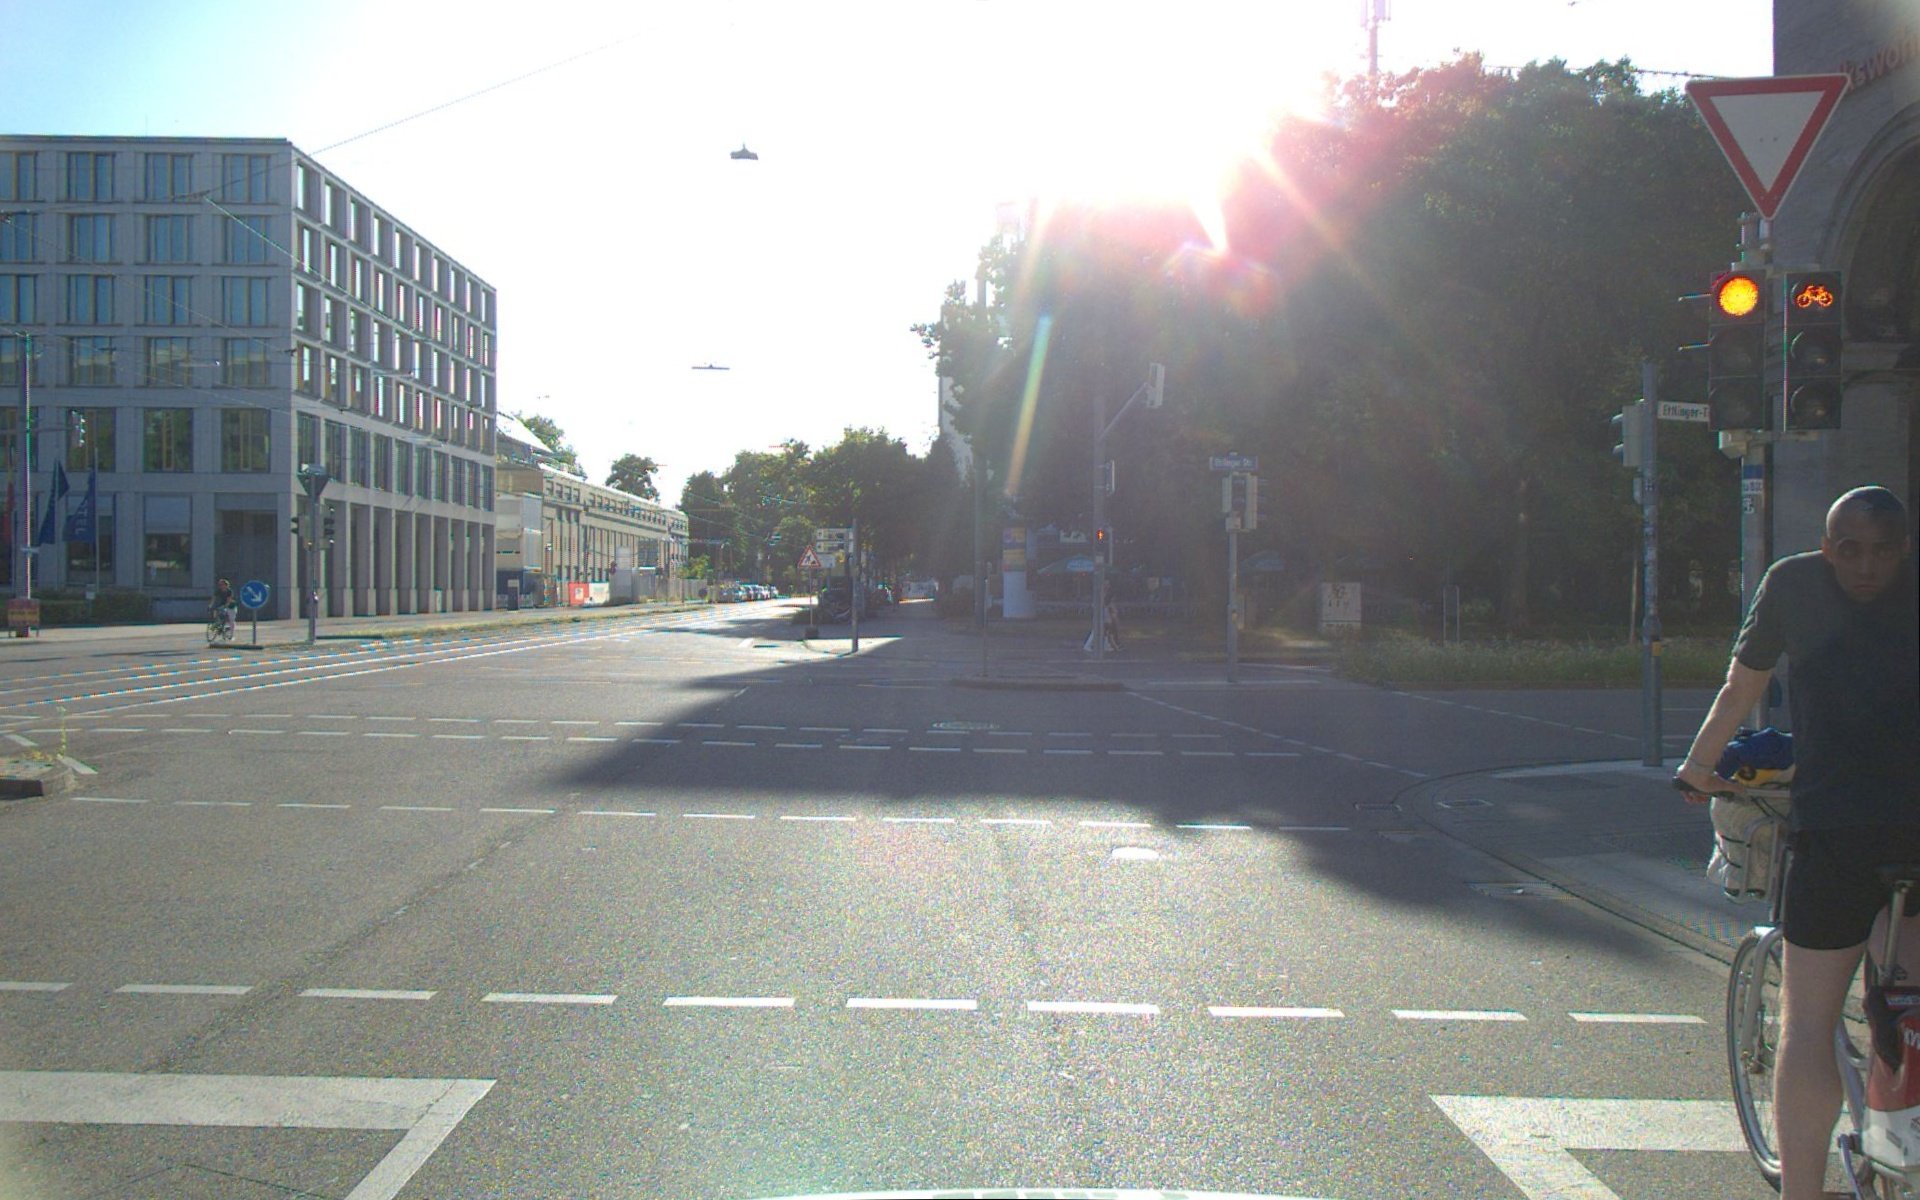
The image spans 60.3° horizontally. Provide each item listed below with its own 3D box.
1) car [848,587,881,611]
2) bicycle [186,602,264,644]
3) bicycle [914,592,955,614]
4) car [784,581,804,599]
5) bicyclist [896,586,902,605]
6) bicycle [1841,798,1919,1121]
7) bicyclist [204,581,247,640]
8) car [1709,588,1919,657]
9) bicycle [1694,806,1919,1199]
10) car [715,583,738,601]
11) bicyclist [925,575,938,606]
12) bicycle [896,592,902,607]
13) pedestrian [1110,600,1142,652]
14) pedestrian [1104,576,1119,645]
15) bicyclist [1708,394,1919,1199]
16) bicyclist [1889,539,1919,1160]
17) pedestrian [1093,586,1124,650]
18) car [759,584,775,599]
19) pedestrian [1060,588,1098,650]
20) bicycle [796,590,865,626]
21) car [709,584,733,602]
[{"bbox_3d":[-5.325,-0.059,92.430,1.783,1.301,3.998,0,0,-3],"label":"car"},{"bbox_3d":[-21.024,0.651,47.392,0.857,1.140,3.013,0,0,0],"label":"bicycle"},{"bbox_3d":[-1.562,0.212,102.609,2.517,1.311,0.728,1,0,-1],"label":"bicycle"},{"bbox_3d":[-19.645,-1.184,196.227,1.953,2.049,3.999,1,0,-1],"label":"car"},{"bbox_3d":[-3.612,-0.258,98.286,0.311,1.147,0.291,0,0,6],"label":"bicyclist"},{"bbox_3d":[3.001,1.083,4.318,0.418,0.891,1.951,0,0,2],"label":"bicycle"},{"bbox_3d":[-21.012,0.292,47.332,0.857,1.670,0.822,0,0,0],"label":"bicyclist"},{"bbox_3d":[17.777,0.444,33.555,4.350,1.352,1.777,0,0,2],"label":"car"},{"bbox_3d":[2.241,1.075,3.915,0.381,0.921,1.952,0,0,8],"label":"bicycle"},{"bbox_3d":[-22.496,-0.760,159.536,1.695,1.682,3.999,0,0,-1],"label":"car"},{"bbox_3d":[-1.748,-0.582,102.630,0.788,1.876,0.731,0,0,-2],"label":"bicyclist"},{"bbox_3d":[-3.605,-0.026,98.456,0.317,0.883,1.483,0,0,-1],"label":"bicycle"},{"bbox_3d":[4.349,0.673,43.424,0.737,1.356,0.742,0,0,-3],"label":"pedestrian"},{"bbox_3d":[4.079,0.273,44.526,0.353,1.836,0.507,0,0,11],"label":"pedestrian"},{"bbox_3d":[2.131,0.428,3.707,0.655,1.707,0.657,0,0,7],"label":"bicyclist"},{"bbox_3d":[2.885,0.687,4.265,0.511,1.709,0.859,0,0,2],"label":"bicyclist"},{"bbox_3d":[3.952,0.476,44.102,0.779,1.668,0.533,0,0,2],"label":"pedestrian"},{"bbox_3d":[-22.647,-0.971,193.798,1.453,1.780,3.999,0,0,-1],"label":"car"},{"bbox_3d":[3.125,0.497,43.481,0.964,1.615,0.660,0,-1,1],"label":"pedestrian"},{"bbox_3d":[-5.231,0.335,67.046,2.688,1.391,0.631,1,-1,10],"label":"bicycle"},{"bbox_3d":[-22.457,-0.659,155.377,1.695,1.682,3.999,0,0,-1],"label":"car"}]
